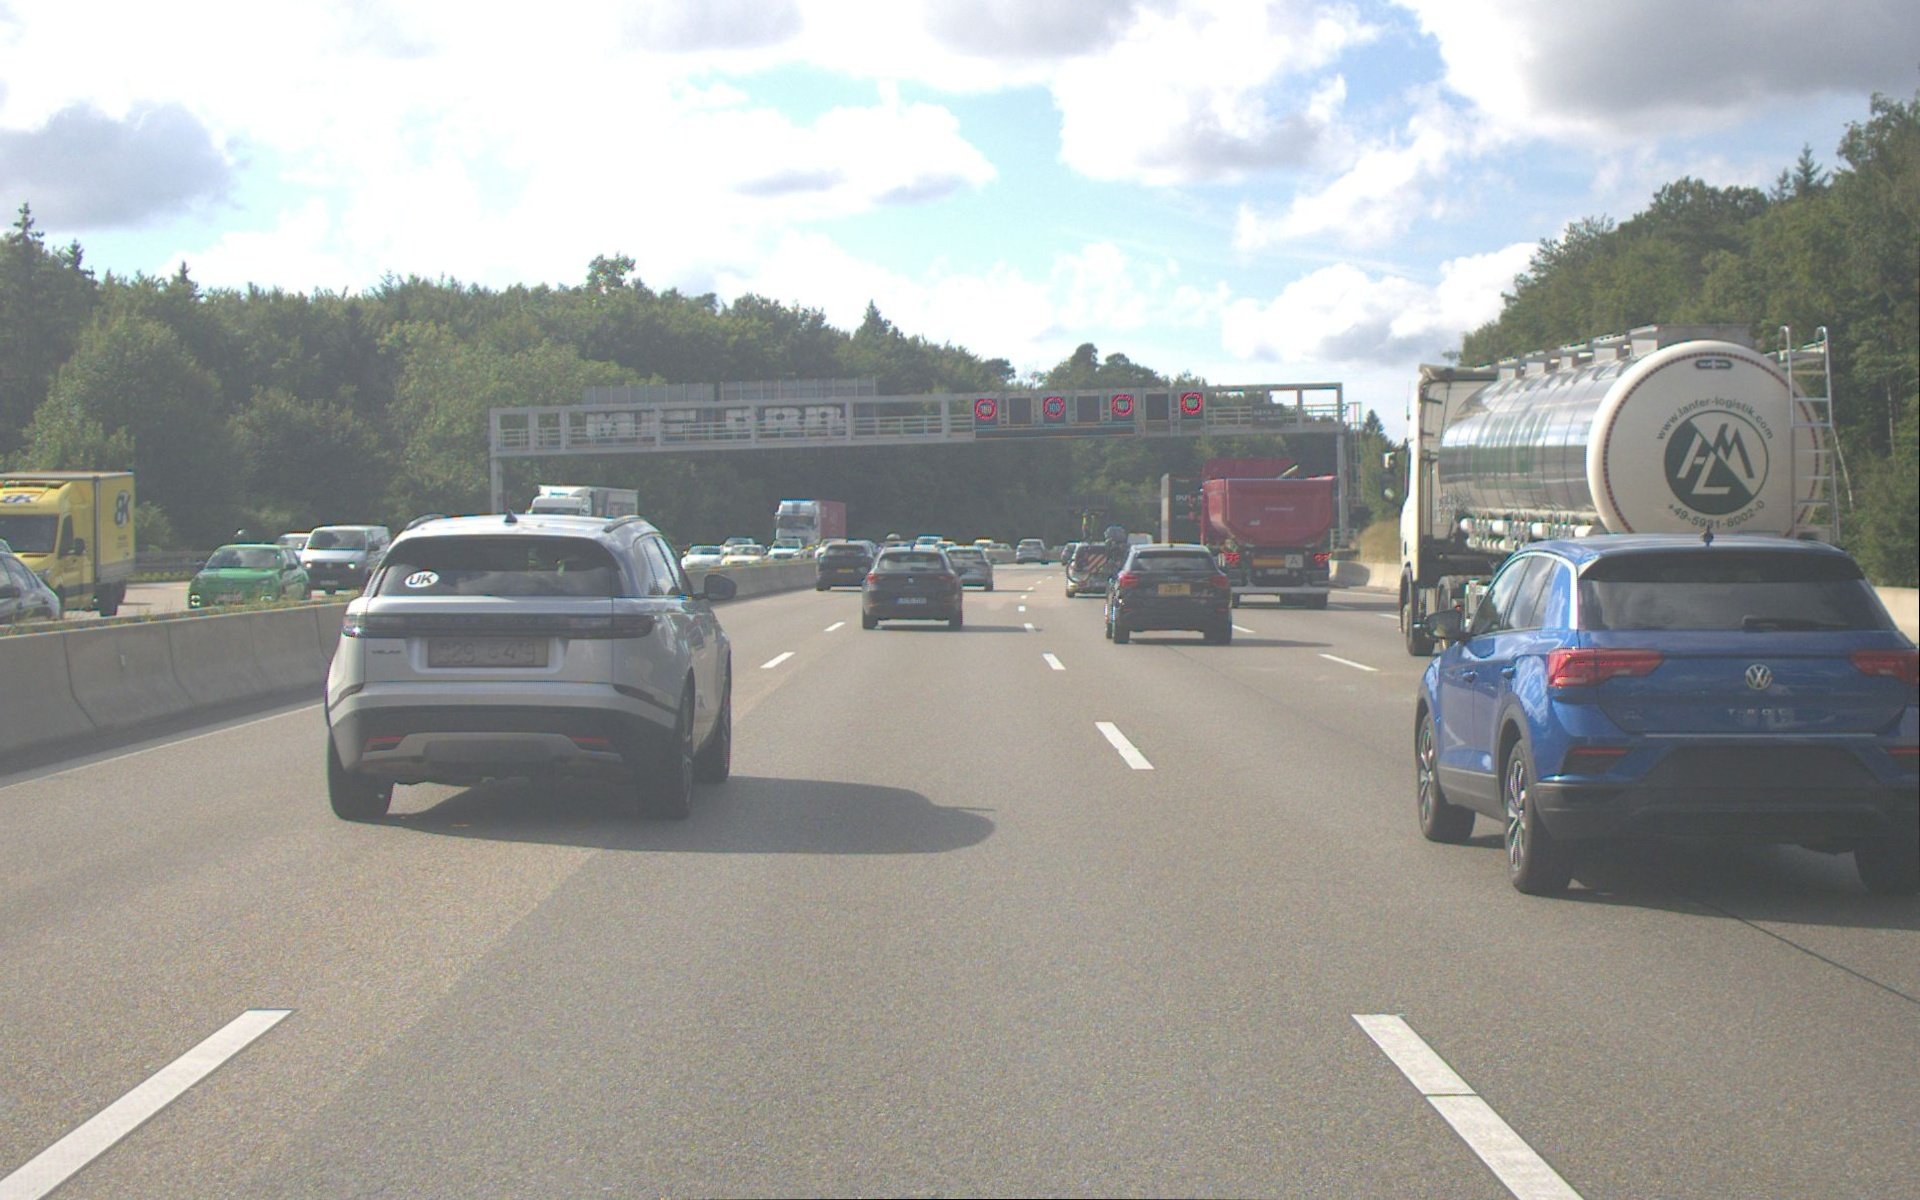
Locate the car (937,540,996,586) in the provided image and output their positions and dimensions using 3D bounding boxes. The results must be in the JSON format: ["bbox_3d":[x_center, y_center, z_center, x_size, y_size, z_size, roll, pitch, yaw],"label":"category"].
[{"bbox_3d":[0.196,-1.185,110.178,1.822,1.452,4.000,0,1,0],"label":"car"}]

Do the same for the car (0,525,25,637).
[{"bbox_3d":[-14.548,-0.233,47.632,1.844,1.590,4.914,-1,1,-1],"label":"car"}]

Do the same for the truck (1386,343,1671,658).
[{"bbox_3d":[7.284,-1.266,44.788,2.649,3.810,6.082,0,1,0],"label":"truck"}]

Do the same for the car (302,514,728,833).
[{"bbox_3d":[-2.428,0.324,20.038,2.006,1.611,5.302,0,1,-2],"label":"car"}]

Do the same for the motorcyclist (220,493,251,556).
[{"bbox_3d":[-17.079,-1.787,81.077,0.602,1.471,0.532,1,0,2],"label":"motorcyclist"}]

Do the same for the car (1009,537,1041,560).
[{"bbox_3d":[4.372,-3.451,230.229,2.077,1.452,4.000,-1,1,1],"label":"car"}]

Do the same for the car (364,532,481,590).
[{"bbox_3d":[-13.922,-1.041,89.357,2.171,1.465,4.786,0,1,2],"label":"car"}]

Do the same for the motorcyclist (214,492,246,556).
[{"bbox_3d":[-17.090,-1.781,80.467,0.602,1.471,0.532,1,0,2],"label":"motorcyclist"}]

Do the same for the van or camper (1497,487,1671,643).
[{"bbox_3d":[9.598,-0.564,53.211,1.822,2.299,4.939,0,1,1],"label":"van or camper"}]

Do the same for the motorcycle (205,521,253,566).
[{"bbox_3d":[-17.103,-1.321,80.490,0.610,1.036,2.175,0,1,2],"label":"motorcycle"}]

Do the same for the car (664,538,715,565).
[{"bbox_3d":[-11.976,-2.153,152.475,1.811,1.157,4.515,0,1,1],"label":"car"}]

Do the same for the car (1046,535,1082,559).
[{"bbox_3d":[6.575,-3.342,217.638,2.077,1.452,4.000,-1,1,0],"label":"car"}]

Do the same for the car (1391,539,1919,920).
[{"bbox_3d":[3.221,0.481,16.048,1.773,1.525,4.458,0,1,-1],"label":"car"}]

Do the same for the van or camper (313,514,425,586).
[{"bbox_3d":[-16.513,-1.413,96.333,1.994,1.931,5.457,0,1,2],"label":"van or camper"}]

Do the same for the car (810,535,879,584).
[{"bbox_3d":[-3.619,-1.290,108.673,1.942,1.452,4.000,-1,1,1],"label":"car"}]

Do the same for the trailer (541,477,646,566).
[{"bbox_3d":[-17.530,-3.767,165.523,3.318,4.092,14.155,0,1,1],"label":"trailer"}]

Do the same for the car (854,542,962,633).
[{"bbox_3d":[-0.950,-0.253,60.620,1.822,1.541,4.000,0,1,-2],"label":"car"}]

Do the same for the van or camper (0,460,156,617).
[{"bbox_3d":[-17.563,-1.189,66.607,2.374,2.882,6.506,-1,1,0],"label":"van or camper"}]

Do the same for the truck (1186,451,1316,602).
[{"bbox_3d":[7.392,-1.899,88.005,2.710,3.706,5.818,0,1,-1],"label":"truck"}]

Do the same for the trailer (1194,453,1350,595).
[{"bbox_3d":[7.429,-1.853,83.116,2.710,3.220,9.733,0,1,-1],"label":"trailer"}]

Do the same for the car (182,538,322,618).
[{"bbox_3d":[-13.895,-0.462,67.692,1.783,1.465,4.331,-1,1,1],"label":"car"}]

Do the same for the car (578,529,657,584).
[{"bbox_3d":[-9.979,-1.284,100.392,1.863,1.546,4.662,0,1,0],"label":"car"}]

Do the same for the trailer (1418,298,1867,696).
[{"bbox_3d":[7.270,-1.092,38.562,2.649,3.754,11.861,0,1,0],"label":"trailer"}]

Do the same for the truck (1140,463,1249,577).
[{"bbox_3d":[8.352,-2.856,123.658,3.118,3.921,10.412,0,1,-1],"label":"truck"}]

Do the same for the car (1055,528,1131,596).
[{"bbox_3d":[3.713,-1.075,96.469,1.893,1.850,4.101,1,1,-1],"label":"car"}]

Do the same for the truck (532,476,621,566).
[{"bbox_3d":[-17.649,-3.630,158.446,3.318,4.092,6.225,0,1,1],"label":"truck"}]

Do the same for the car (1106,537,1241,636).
[{"bbox_3d":[3.238,-0.240,52.731,1.822,1.452,4.000,0,1,0],"label":"car"}]

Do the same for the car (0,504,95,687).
[{"bbox_3d":[-10.926,-0.046,36.178,2.171,1.872,5.362,-1,1,1],"label":"car"}]
